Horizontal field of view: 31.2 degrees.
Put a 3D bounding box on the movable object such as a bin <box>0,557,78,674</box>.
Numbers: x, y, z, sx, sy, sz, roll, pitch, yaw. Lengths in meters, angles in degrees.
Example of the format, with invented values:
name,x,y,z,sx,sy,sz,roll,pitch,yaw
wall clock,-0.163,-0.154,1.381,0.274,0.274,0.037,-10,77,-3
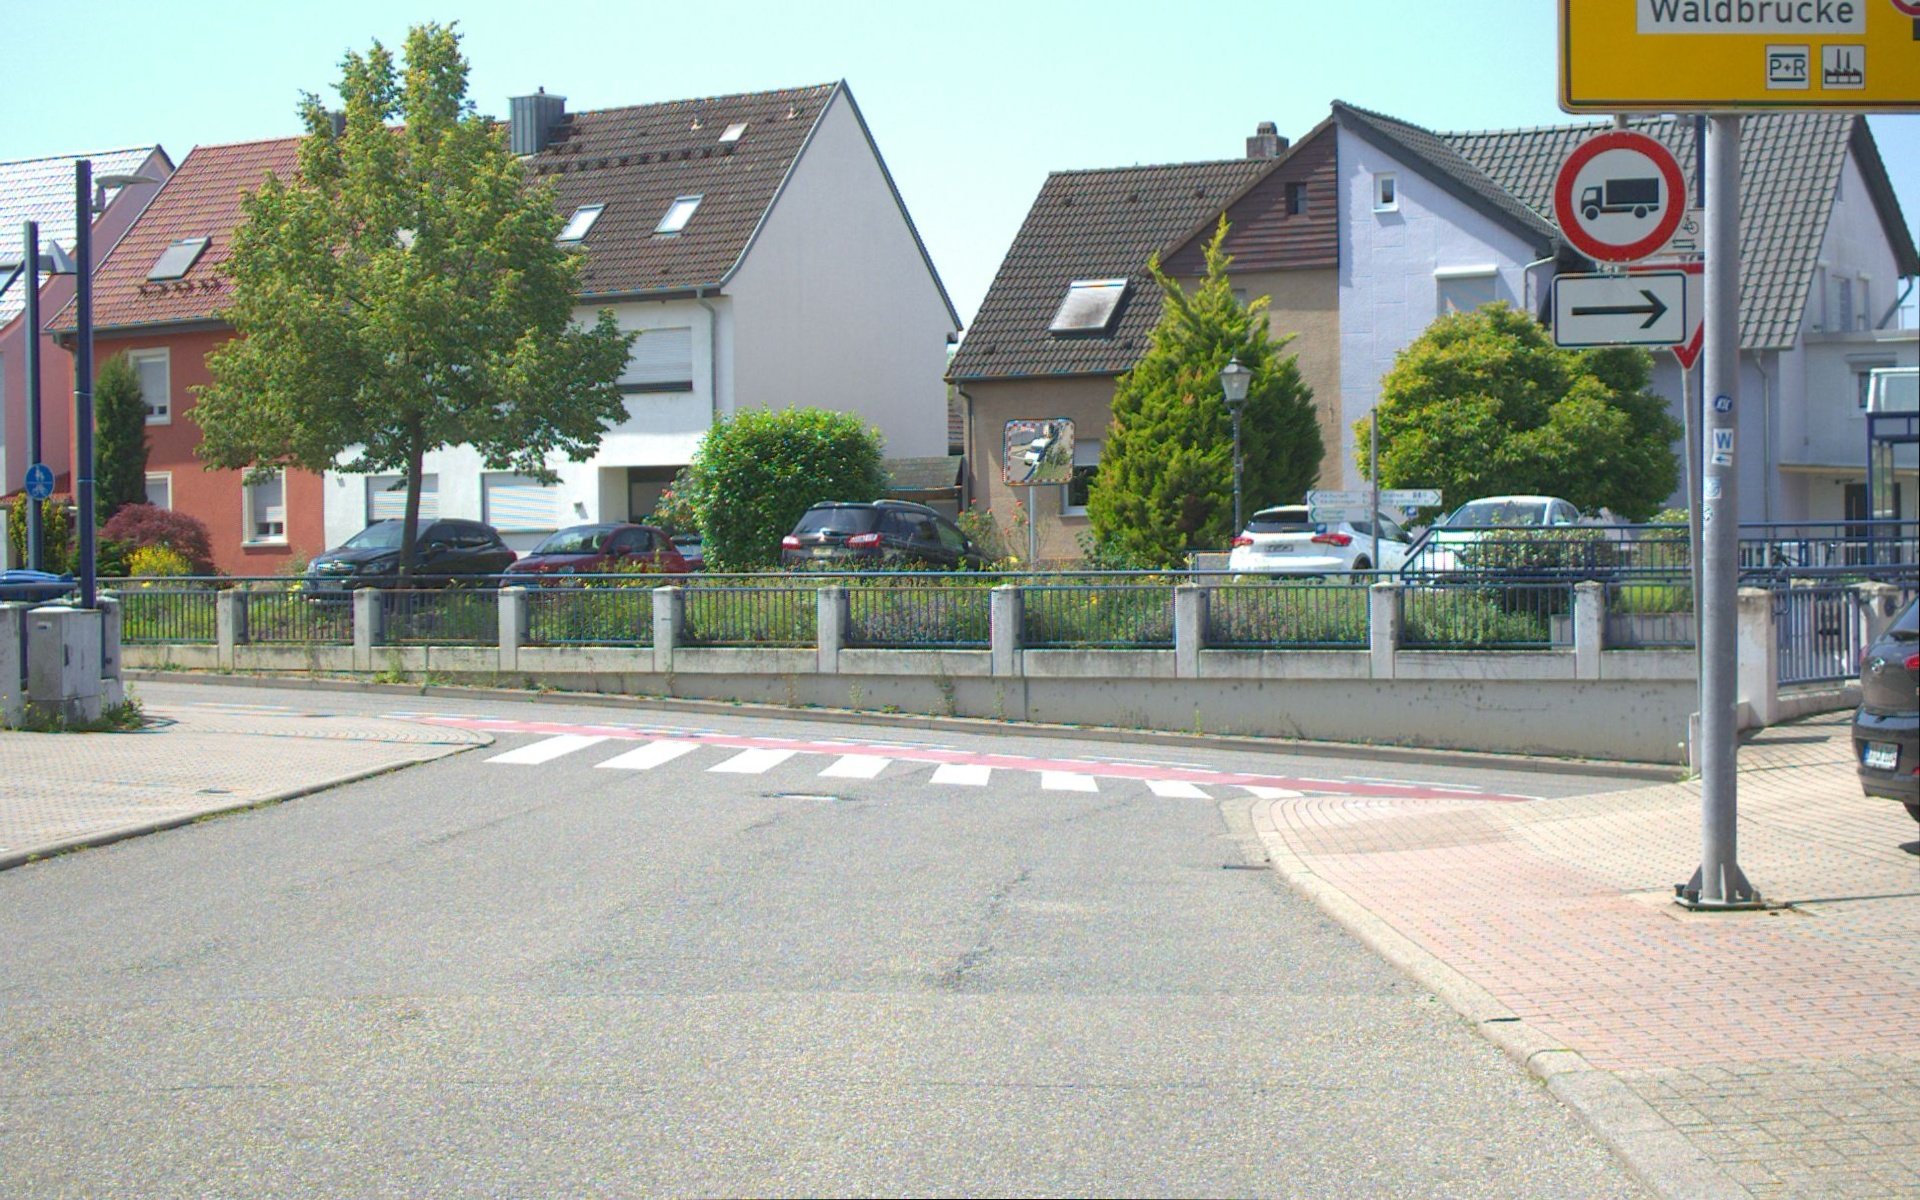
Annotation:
name,x,y,z,sx,sy,sz,roll,pitch,yaw
movable object such as a bin,-9.771,0.151,36.277,0.839,1.209,1.277,0,0,-12

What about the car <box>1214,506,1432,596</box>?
name,x,y,z,sx,sy,sz,roll,pitch,yaw
car,5.022,-0.652,47.191,1.828,1.016,3.454,4,1,27

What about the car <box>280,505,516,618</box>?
name,x,y,z,sx,sy,sz,roll,pitch,yaw
car,-8.938,-0.593,54.927,1.870,1.581,3.604,4,1,27

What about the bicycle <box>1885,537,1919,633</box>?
name,x,y,z,sx,sy,sz,roll,pitch,yaw
bicycle,12.028,-0.173,40.550,2.117,1.122,0.392,1,1,21

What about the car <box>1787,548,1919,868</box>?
name,x,y,z,sx,sy,sz,roll,pitch,yaw
car,6.352,0.332,17.072,3.895,1.485,1.810,-6,0,-2

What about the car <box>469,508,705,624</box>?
name,x,y,z,sx,sy,sz,roll,pitch,yaw
car,-5.702,-0.503,52.882,1.870,1.581,3.604,4,1,27

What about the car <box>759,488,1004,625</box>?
name,x,y,z,sx,sy,sz,roll,pitch,yaw
car,-1.113,-0.614,50.852,1.870,1.791,3.994,4,1,27

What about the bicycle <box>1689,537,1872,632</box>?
name,x,y,z,sx,sy,sz,roll,pitch,yaw
bicycle,9.865,-0.192,41.363,2.117,1.122,0.332,1,1,21

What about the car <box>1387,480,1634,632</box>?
name,x,y,z,sx,sy,sz,roll,pitch,yaw
car,7.426,-0.555,46.062,1.997,1.791,4.190,4,1,27

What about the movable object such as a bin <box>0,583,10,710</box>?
name,x,y,z,sx,sy,sz,roll,pitch,yaw
movable object such as a bin,-9.678,0.449,32.912,0.885,1.221,0.902,0,0,2
